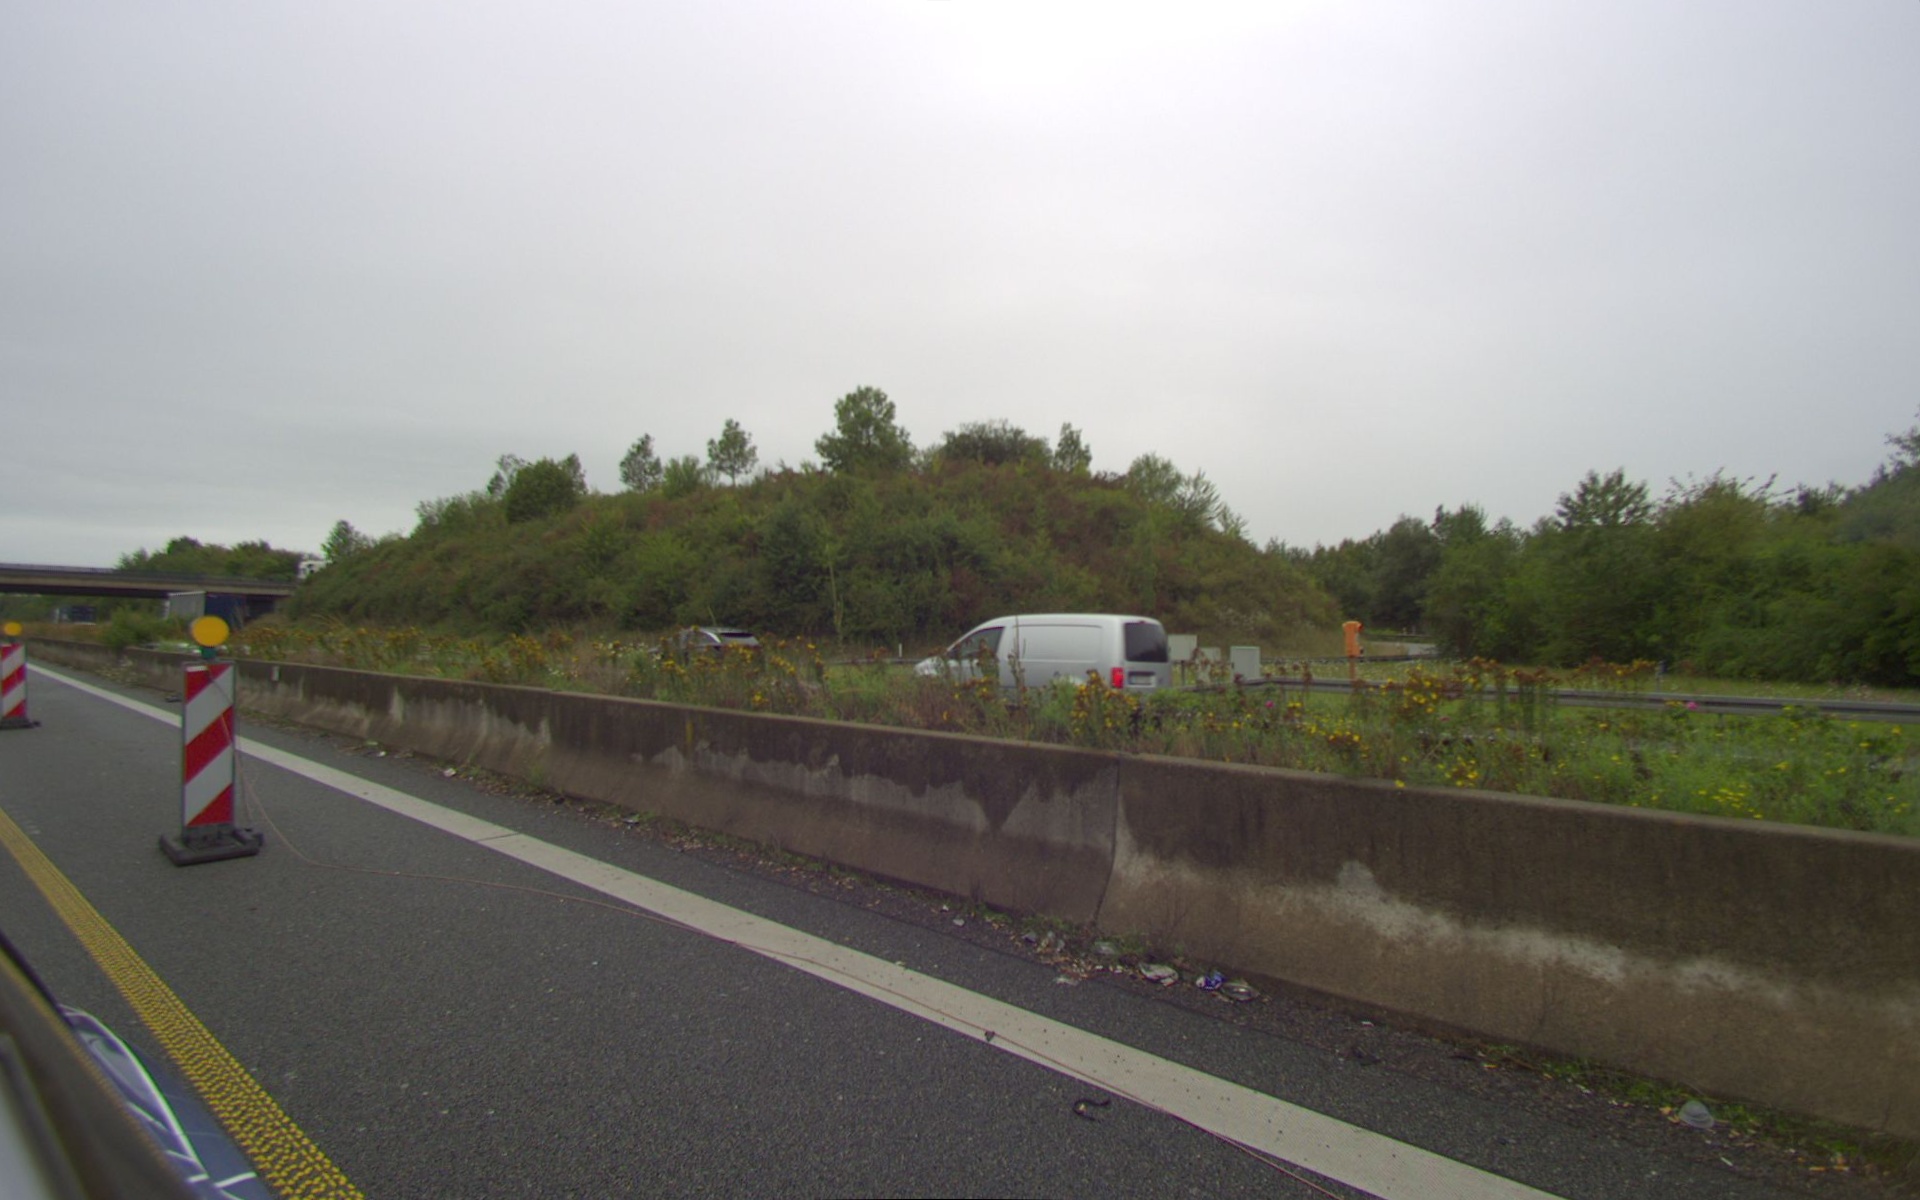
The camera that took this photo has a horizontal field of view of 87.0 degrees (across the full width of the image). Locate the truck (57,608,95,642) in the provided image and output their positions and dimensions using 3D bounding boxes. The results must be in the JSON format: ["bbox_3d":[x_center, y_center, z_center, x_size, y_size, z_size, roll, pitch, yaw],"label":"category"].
[{"bbox_3d":[-116.639,3.229,133.475,12.519,4.277,2.646,-1,0,43],"label":"truck"}]

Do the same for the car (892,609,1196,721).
[{"bbox_3d":[1.232,0.995,16.360,4.744,1.555,1.849,-2,-3,41],"label":"car"}]

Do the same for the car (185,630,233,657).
[{"bbox_3d":[-43.953,2.546,59.192,3.754,1.539,1.659,-2,-3,45],"label":"car"}]

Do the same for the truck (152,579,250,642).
[{"bbox_3d":[-60.337,0.846,80.153,17.290,4.559,3.369,-1,-1,44],"label":"truck"}]

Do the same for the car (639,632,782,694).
[{"bbox_3d":[-7.318,1.791,29.478,4.294,1.674,1.972,-2,-3,41],"label":"car"}]
